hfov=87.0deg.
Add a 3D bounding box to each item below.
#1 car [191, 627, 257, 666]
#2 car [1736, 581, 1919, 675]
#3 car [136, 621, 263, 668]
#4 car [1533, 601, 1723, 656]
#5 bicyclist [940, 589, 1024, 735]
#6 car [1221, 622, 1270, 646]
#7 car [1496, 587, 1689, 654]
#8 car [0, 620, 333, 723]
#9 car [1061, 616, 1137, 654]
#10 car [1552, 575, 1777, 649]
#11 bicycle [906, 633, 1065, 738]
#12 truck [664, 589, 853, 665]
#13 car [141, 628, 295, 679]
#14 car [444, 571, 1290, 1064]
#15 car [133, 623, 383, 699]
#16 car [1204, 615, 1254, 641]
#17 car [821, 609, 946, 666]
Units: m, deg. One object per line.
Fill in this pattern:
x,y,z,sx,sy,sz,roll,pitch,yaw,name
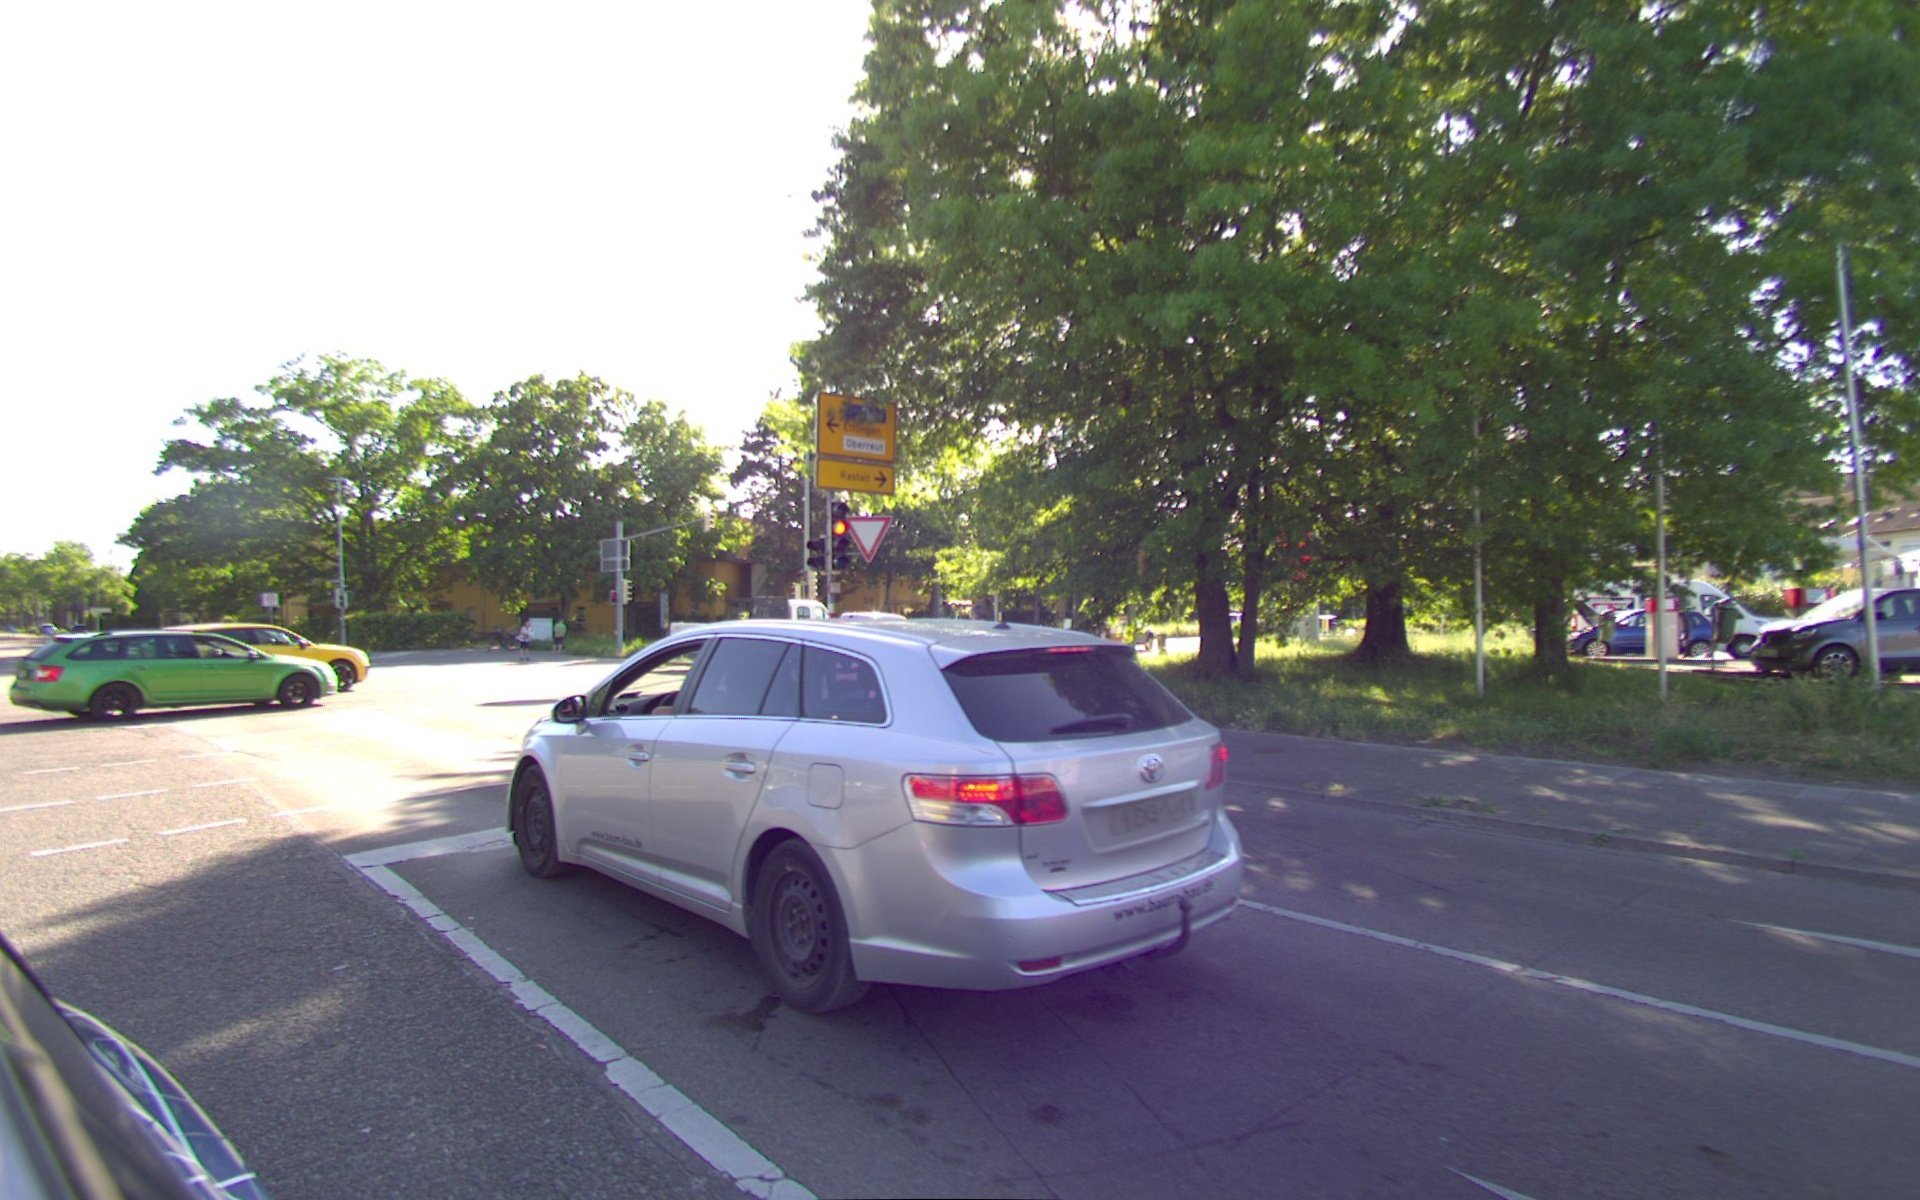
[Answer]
-30.317,1.873,41.661,1.616,1.409,3.894,2,0,-44,car
15.123,0.458,16.132,3.959,1.386,1.753,1,0,12,car
-30.387,1.747,40.491,4.060,1.665,1.802,1,0,11,car
18.399,0.761,28.056,3.960,1.345,1.792,1,0,13,car
0.258,0.719,12.009,0.829,1.654,0.535,-2,-2,41,bicyclist
18.585,2.189,65.773,1.838,1.405,4.314,1,0,34,car
15.921,0.484,25.713,3.978,1.523,1.519,1,0,26,car
-13.692,1.128,17.615,1.917,1.497,4.311,1,0,36,car
6.705,1.650,48.397,1.824,1.697,4.338,0,-1,36,car
22.062,0.325,31.967,5.640,2.115,1.977,1,0,35,car
0.264,0.976,12.034,2.025,1.150,0.521,-2,-2,42,bicycle
-6.607,0.902,34.210,2.186,2.327,6.695,-2,-2,34,truck
-23.023,1.620,31.501,1.550,1.443,3.554,-1,-2,36,car
-0.941,0.731,5.470,4.891,1.500,1.816,-2,-2,44,car
-14.890,1.224,21.684,1.689,1.451,4.072,-1,-1,35,car
18.829,1.937,70.774,1.946,1.665,4.311,1,0,36,car
-2.495,1.206,33.885,1.916,1.741,4.314,1,0,34,car
